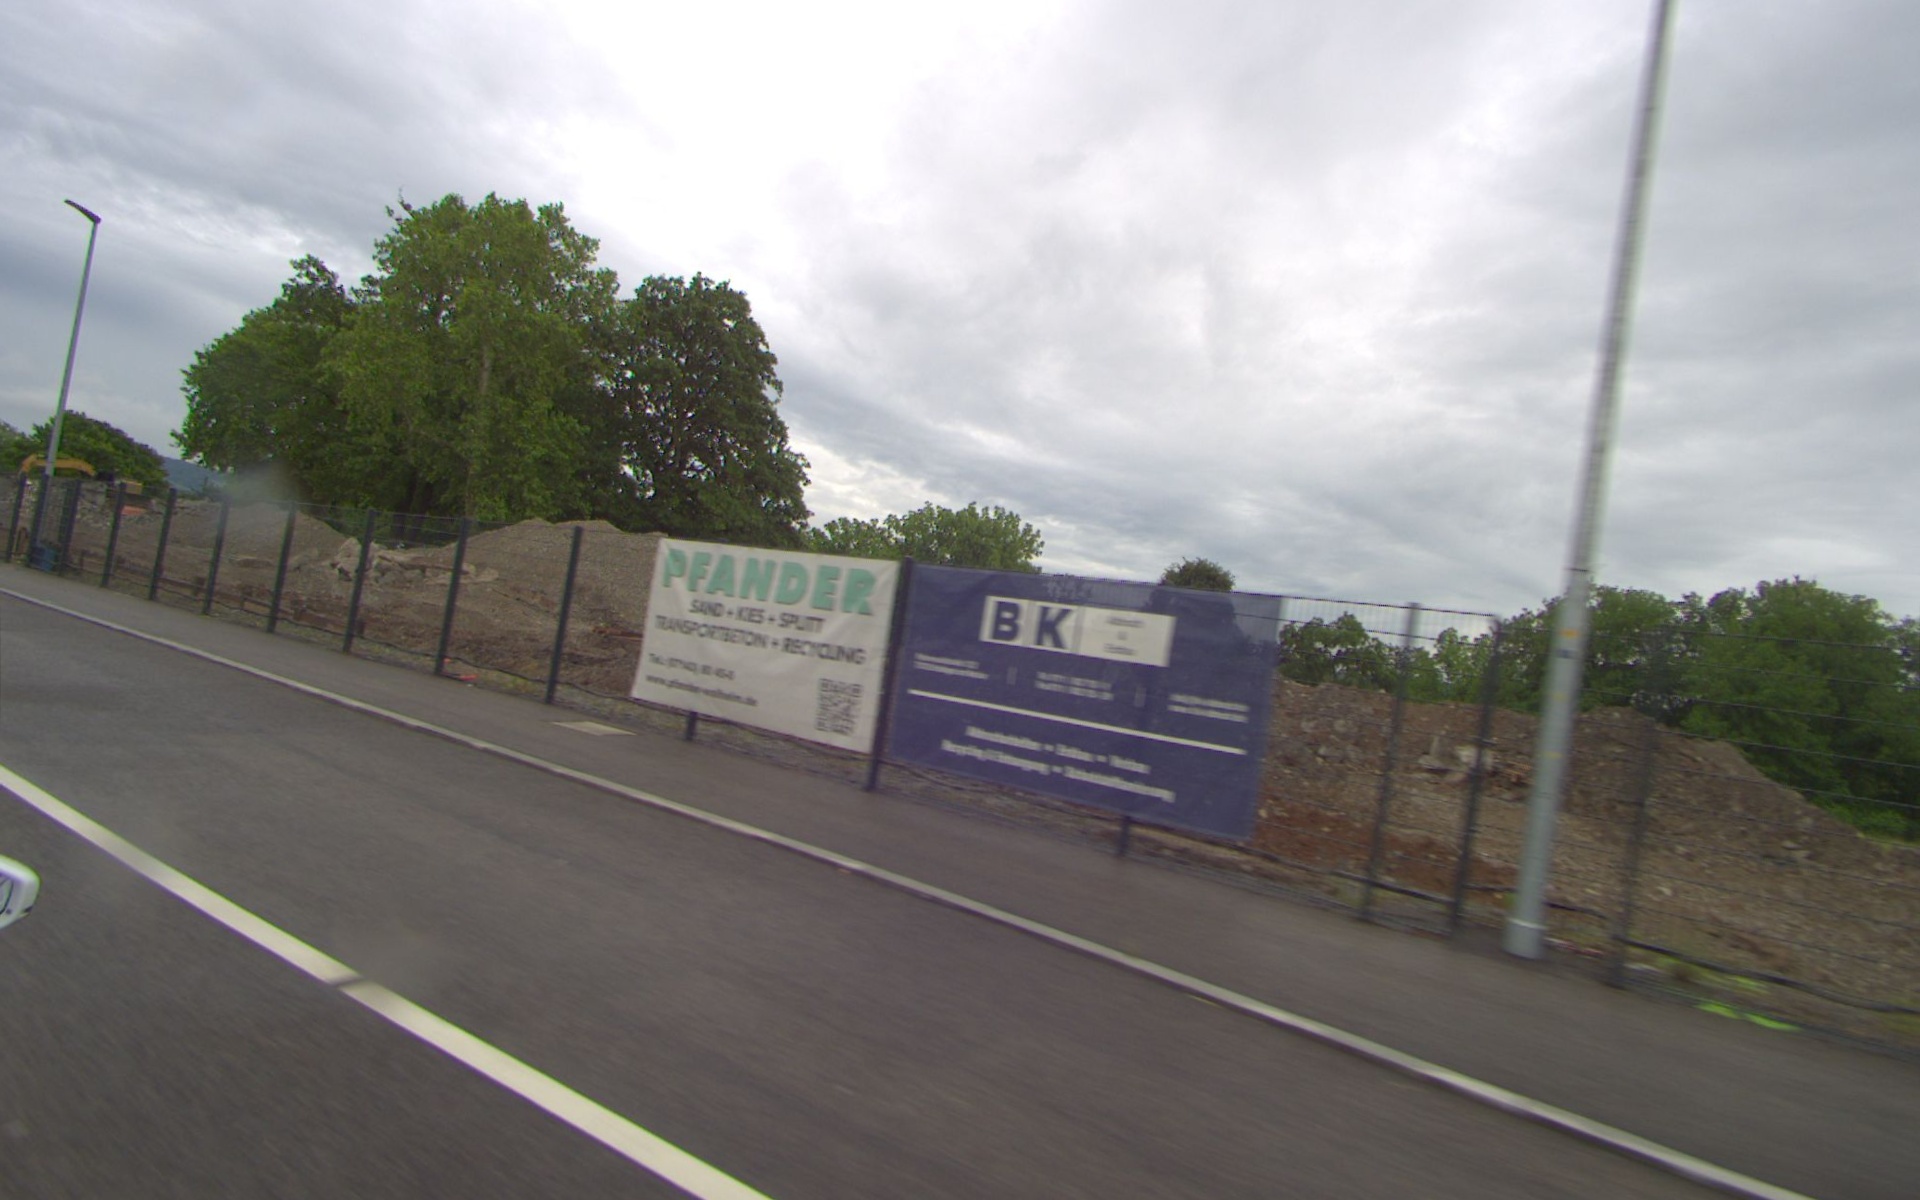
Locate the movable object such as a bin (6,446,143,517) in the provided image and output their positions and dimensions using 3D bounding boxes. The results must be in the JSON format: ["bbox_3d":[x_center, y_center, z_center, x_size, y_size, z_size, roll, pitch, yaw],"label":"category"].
[{"bbox_3d":[-103.799,-13.748,118.111,3.441,6.064,11.228,6,-2,40],"label":"movable object such as a bin"}]
